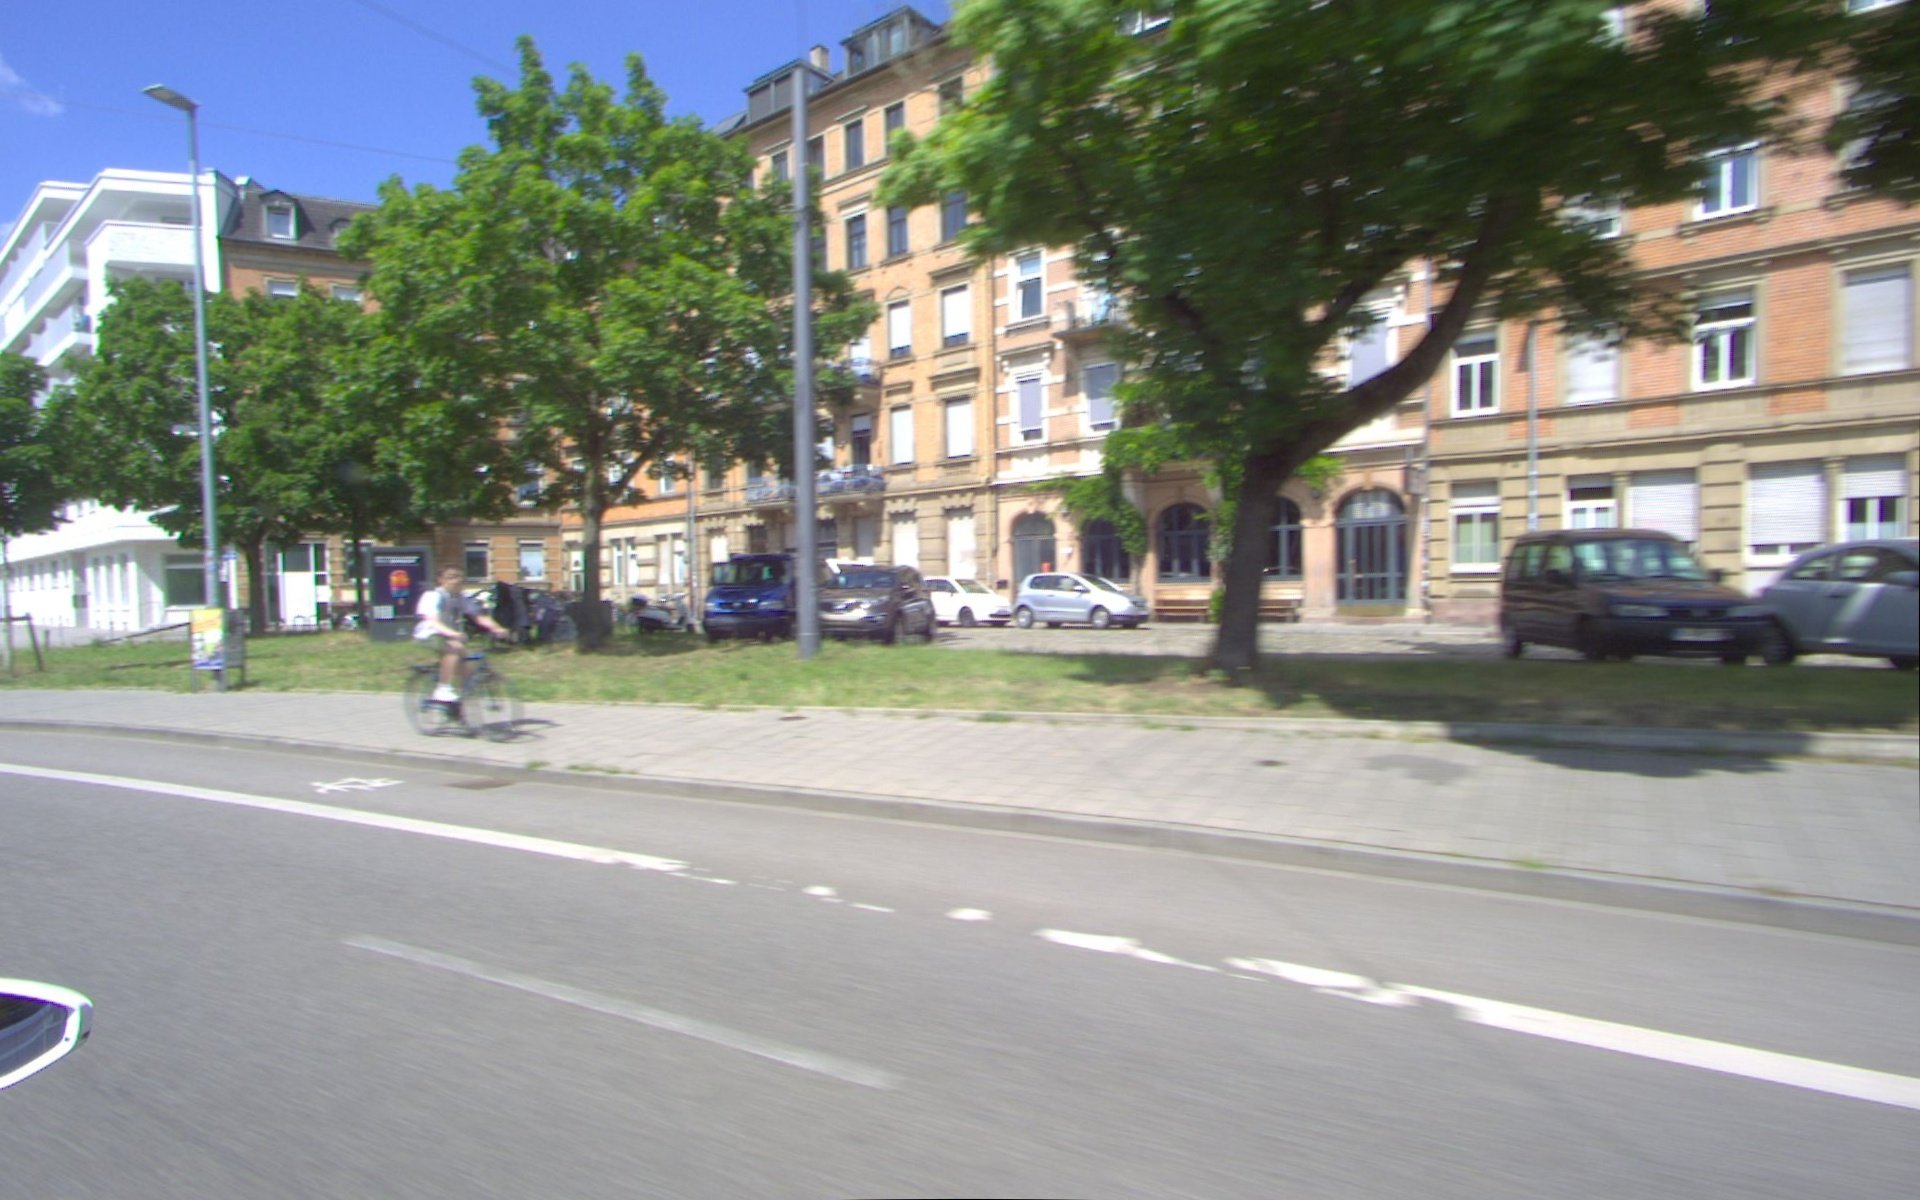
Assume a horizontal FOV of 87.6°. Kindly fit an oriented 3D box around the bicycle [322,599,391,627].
[{"bbox_3d":[-21.655,0.455,35.996,0.534,0.982,2.388,0,0,16],"label":"bicycle"}]

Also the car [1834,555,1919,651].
[{"bbox_3d":[16.537,0.034,15.729,4.177,1.511,1.824,-1,0,40],"label":"car"}]

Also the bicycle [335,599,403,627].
[{"bbox_3d":[-21.126,0.450,35.835,0.534,0.982,2.388,0,0,16],"label":"bicycle"}]

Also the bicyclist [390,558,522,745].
[{"bbox_3d":[-5.252,0.506,10.453,0.940,1.850,0.694,0,4,24],"label":"bicyclist"}]

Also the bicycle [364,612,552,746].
[{"bbox_3d":[-5.252,0.785,10.473,1.808,1.260,0.693,0,4,23],"label":"bicycle"}]

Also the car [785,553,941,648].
[{"bbox_3d":[-1.794,0.024,19.975,1.881,1.678,4.171,0,0,13],"label":"car"}]

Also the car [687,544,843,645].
[{"bbox_3d":[-4.073,-0.082,21.789,1.880,1.953,4.628,0,0,9],"label":"car"}]

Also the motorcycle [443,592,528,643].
[{"bbox_3d":[-11.664,0.417,24.657,0.632,1.183,1.776,0,1,38],"label":"motorcycle"}]

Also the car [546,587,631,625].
[{"bbox_3d":[-15.398,0.259,41.405,3.808,1.511,1.651,-1,0,40],"label":"car"}]

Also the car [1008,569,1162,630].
[{"bbox_3d":[3.299,-0.002,26.745,3.808,1.511,1.651,-1,0,40],"label":"car"}]

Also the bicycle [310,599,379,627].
[{"bbox_3d":[-22.194,0.461,36.144,0.534,0.982,2.388,0,0,16],"label":"bicycle"}]

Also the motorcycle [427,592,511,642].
[{"bbox_3d":[-12.347,0.407,25.215,0.632,1.183,1.776,0,1,38],"label":"motorcycle"}]

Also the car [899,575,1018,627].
[{"bbox_3d":[-0.062,0.025,29.344,3.313,1.422,1.555,0,1,42],"label":"car"}]

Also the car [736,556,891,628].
[{"bbox_3d":[-4.934,-0.230,33.308,5.330,2.207,2.101,-1,0,40],"label":"car"}]

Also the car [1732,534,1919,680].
[{"bbox_3d":[10.310,0.063,10.302,1.816,1.424,4.085,0,0,4],"label":"car"}]

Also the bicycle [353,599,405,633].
[{"bbox_3d":[-15.734,0.427,27.097,1.797,0.913,0.540,-1,0,36],"label":"bicycle"}]

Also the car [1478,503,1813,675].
[{"bbox_3d":[8.156,-0.091,12.449,1.817,1.764,4.148,0,0,9],"label":"car"}]

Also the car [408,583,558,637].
[{"bbox_3d":[-13.766,0.243,29.207,1.771,1.446,4.256,-1,1,10],"label":"car"}]

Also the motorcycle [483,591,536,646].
[{"bbox_3d":[-10.097,0.397,22.422,0.632,1.183,1.891,-2,1,-38],"label":"motorcycle"}]
